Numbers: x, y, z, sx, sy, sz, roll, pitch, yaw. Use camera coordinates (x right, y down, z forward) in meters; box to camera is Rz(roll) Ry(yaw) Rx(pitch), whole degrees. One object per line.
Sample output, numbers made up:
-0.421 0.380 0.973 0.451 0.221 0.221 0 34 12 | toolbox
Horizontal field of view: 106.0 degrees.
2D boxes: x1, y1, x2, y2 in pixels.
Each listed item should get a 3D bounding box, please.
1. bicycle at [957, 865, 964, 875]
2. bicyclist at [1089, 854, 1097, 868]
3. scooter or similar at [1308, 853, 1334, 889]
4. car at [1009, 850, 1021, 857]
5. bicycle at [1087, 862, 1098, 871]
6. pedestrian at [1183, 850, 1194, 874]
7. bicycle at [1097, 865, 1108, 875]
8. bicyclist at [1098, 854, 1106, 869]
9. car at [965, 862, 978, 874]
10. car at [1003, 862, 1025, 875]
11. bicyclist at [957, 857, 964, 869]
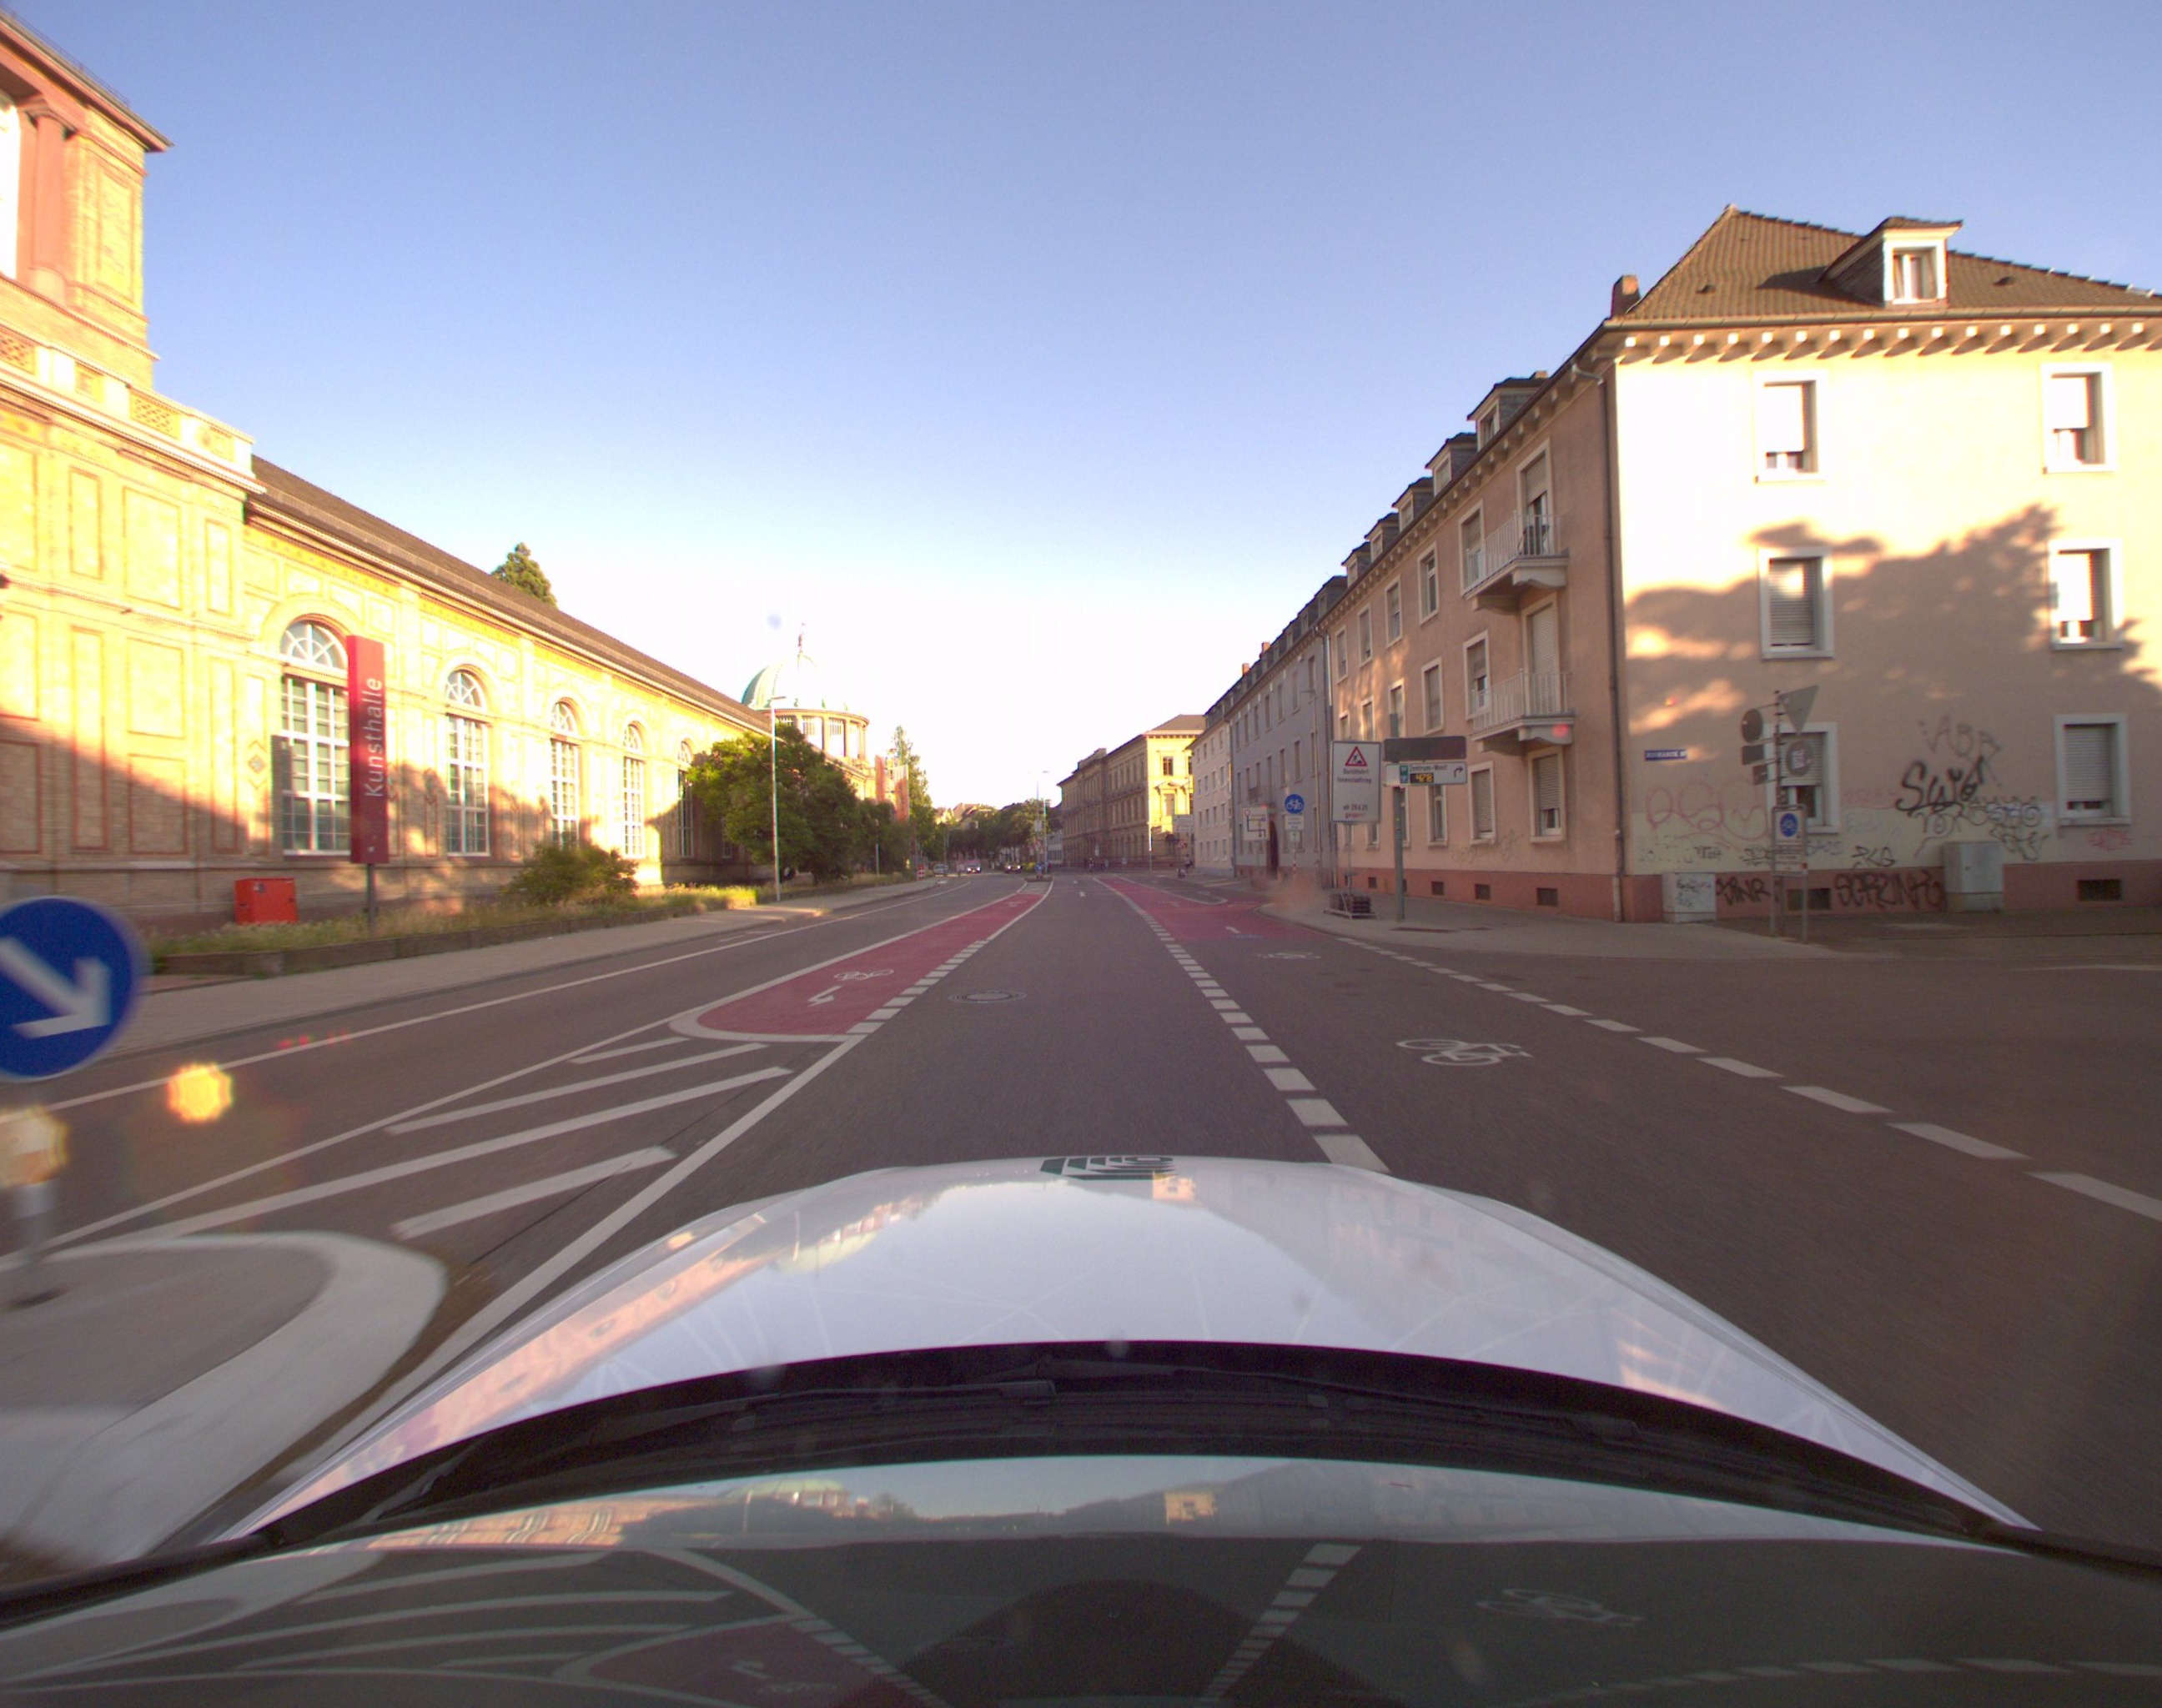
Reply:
-14.269 1.871 96.800 0.753 1.090 1.927 -3 0 -8 | bicycle
1.317 0.818 91.718 0.670 1.566 0.694 1 -2 -17 | bicyclist
10.256 0.707 34.851 0.721 1.459 1.676 -4 -1 9 | scooter or similar
-16.072 -0.019 197.938 1.820 1.560 3.835 -1 -1 -22 | car
1.302 1.428 91.750 0.671 1.071 1.889 0 -1 -18 | bicycle
9.271 0.674 70.451 0.779 2.014 0.998 -2 -1 13 | pedestrian
2.452 1.781 91.673 0.654 1.071 2.246 1 -1 -15 | bicycle
2.402 0.837 91.898 0.650 1.760 0.860 1 -1 -15 | bicyclist
-15.544 1.978 115.862 1.822 1.508 4.416 -2 0 -7 | car
-8.485 1.834 104.175 1.834 1.547 4.128 -2 -1 9 | car
-14.315 1.075 96.798 0.746 1.460 0.935 -3 -1 -8 | bicyclist
